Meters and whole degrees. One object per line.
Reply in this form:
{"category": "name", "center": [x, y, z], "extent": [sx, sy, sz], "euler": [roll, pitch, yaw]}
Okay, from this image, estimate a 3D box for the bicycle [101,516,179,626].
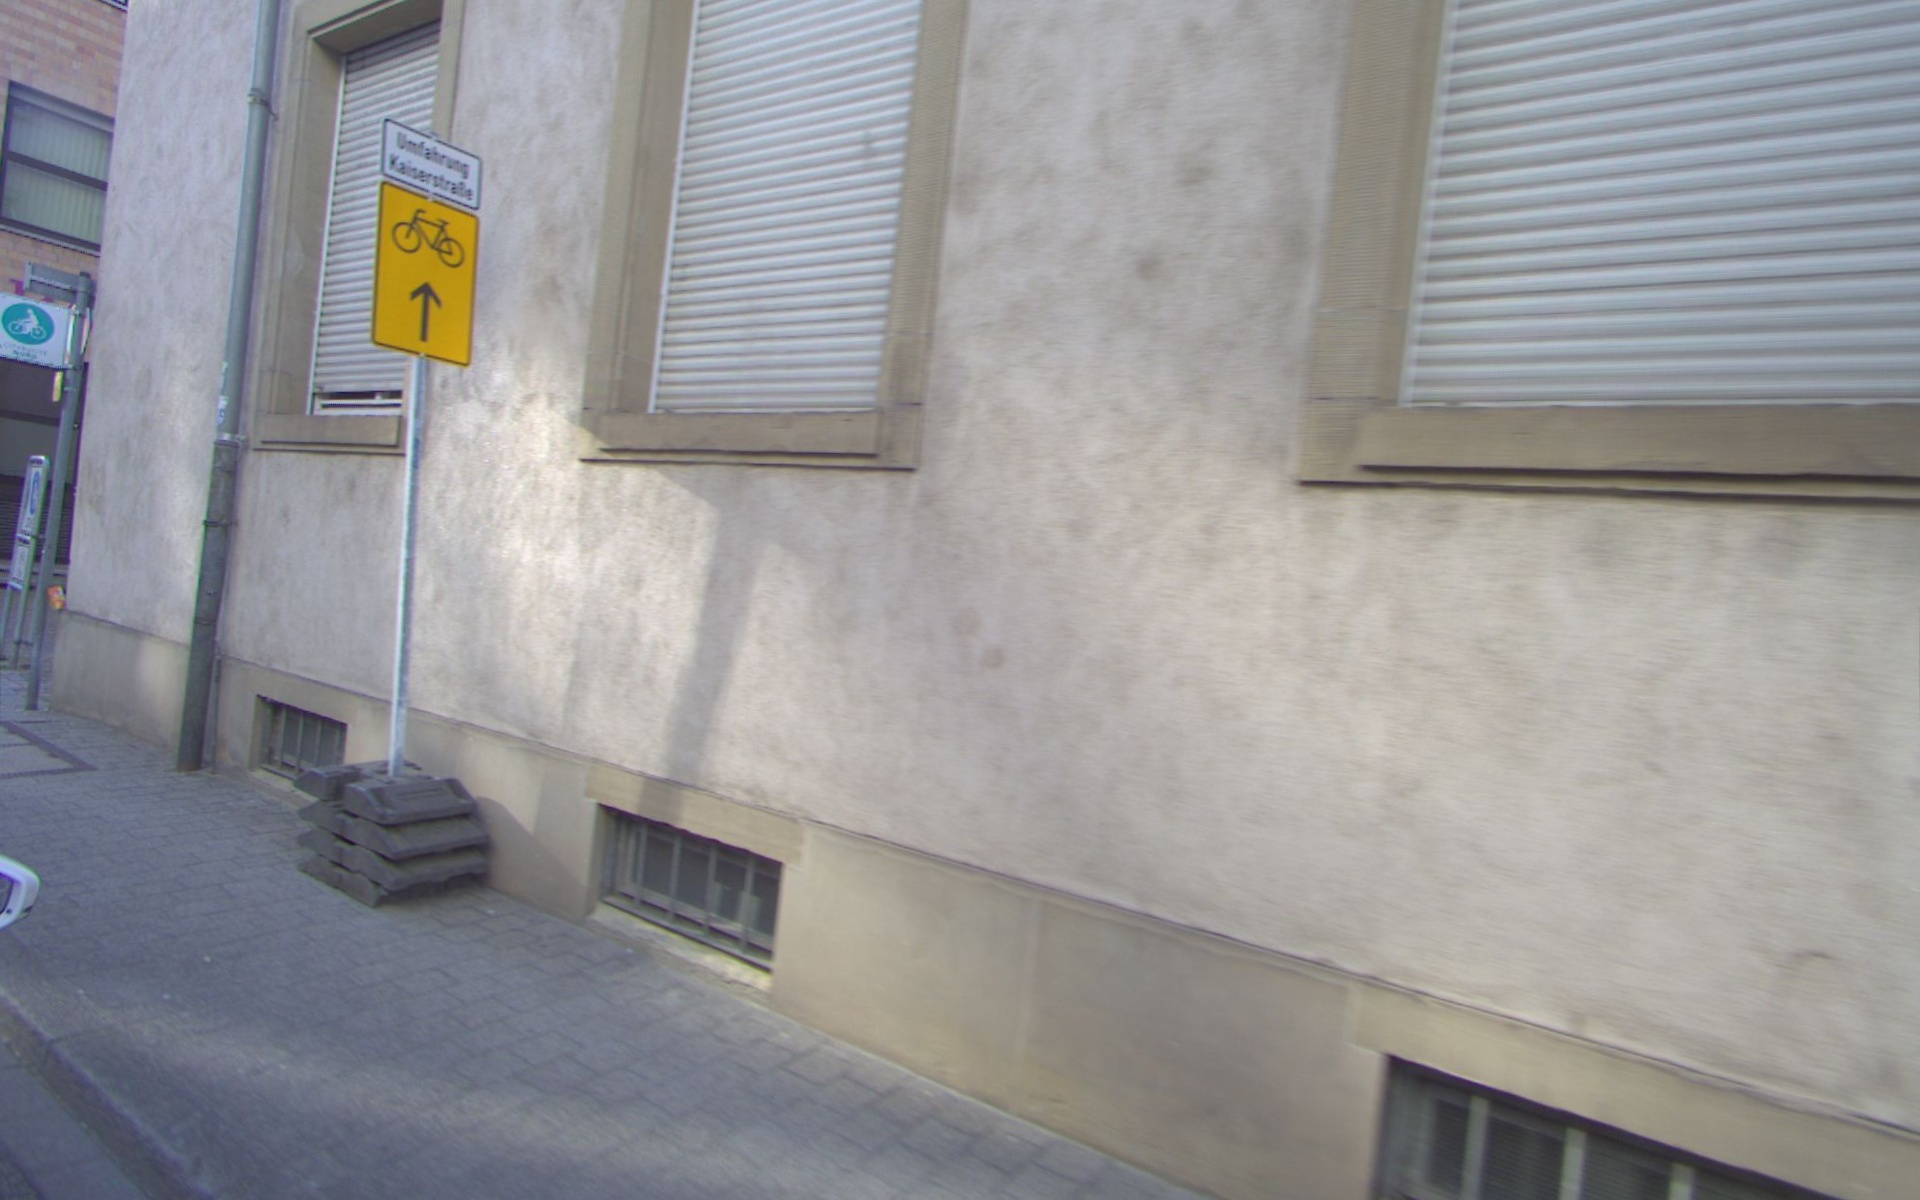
{"category": "bicycle", "center": [-11.026, -0.413, 13.515], "extent": [1.625, 1.333, 0.548], "euler": [7, 1, 44]}
